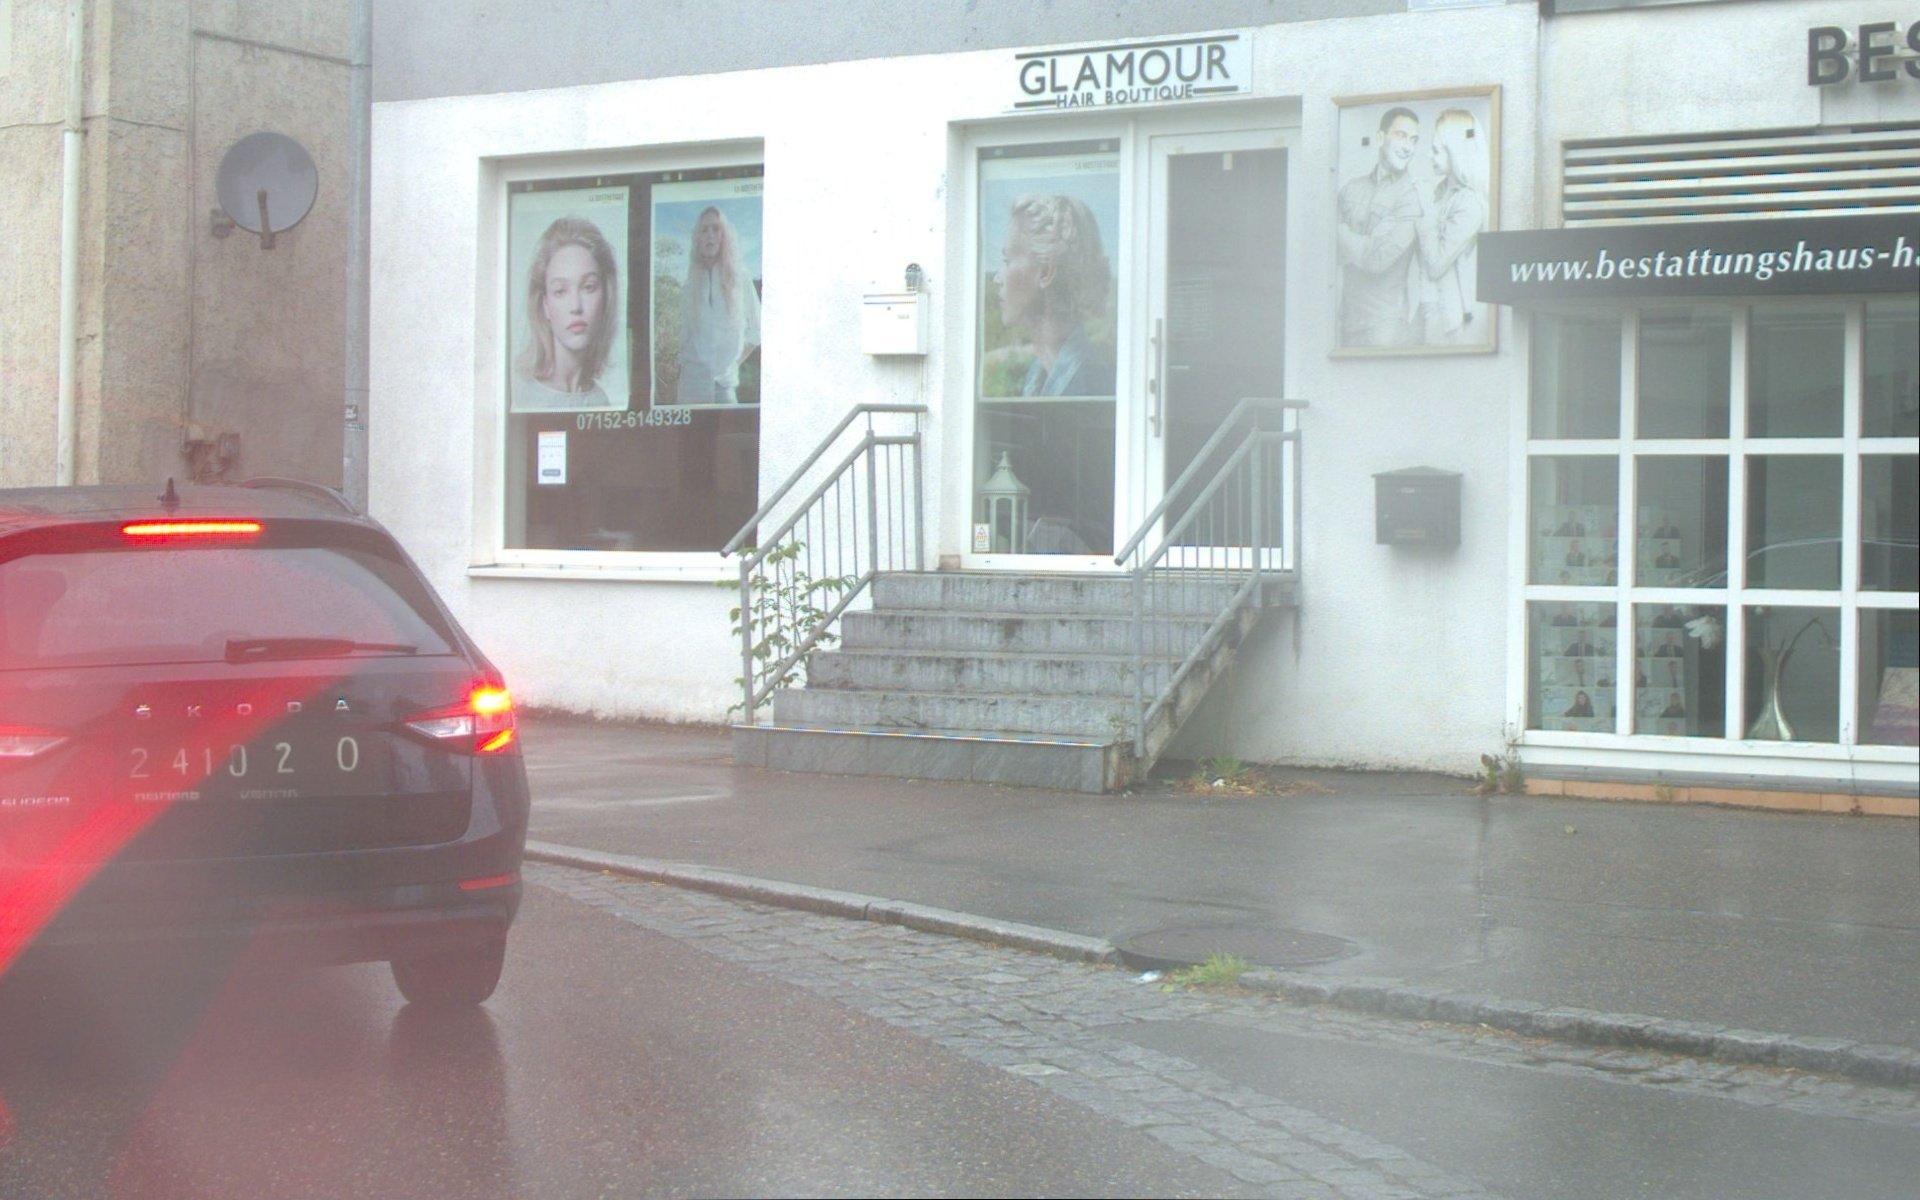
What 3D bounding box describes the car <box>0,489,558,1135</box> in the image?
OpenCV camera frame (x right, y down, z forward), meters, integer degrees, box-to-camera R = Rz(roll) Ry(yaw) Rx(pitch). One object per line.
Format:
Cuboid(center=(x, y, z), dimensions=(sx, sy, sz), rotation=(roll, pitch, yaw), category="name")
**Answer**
Cuboid(center=(-2.651, 0.434, 10.248), dimensions=(1.732, 1.445, 4.243), rotation=(-1, 3, -23), category="car")
